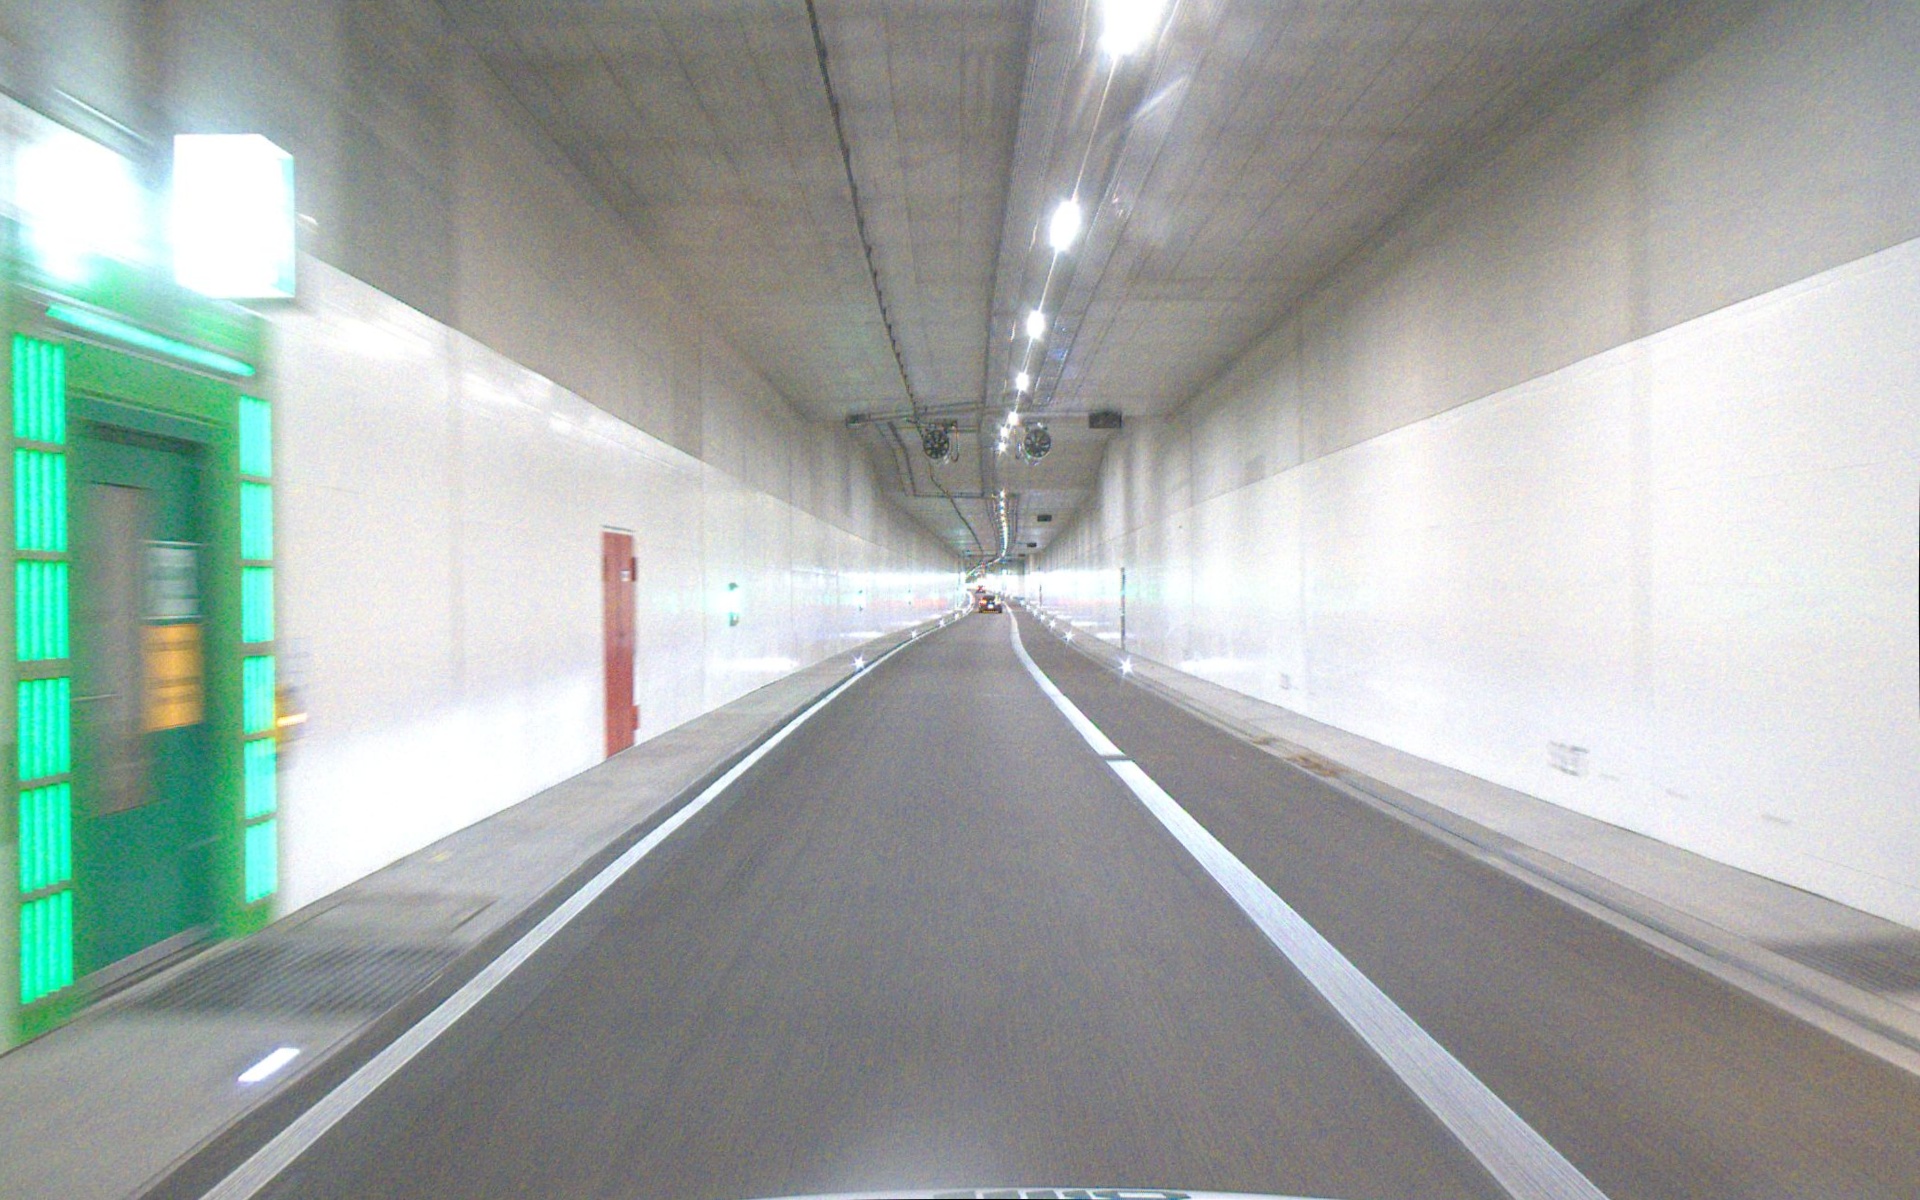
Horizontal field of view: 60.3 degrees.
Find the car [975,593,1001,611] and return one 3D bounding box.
[{"bbox_3d":[2.239,0.161,132.374,1.953,1.445,3.999,1,0,-1],"label":"car"}]
